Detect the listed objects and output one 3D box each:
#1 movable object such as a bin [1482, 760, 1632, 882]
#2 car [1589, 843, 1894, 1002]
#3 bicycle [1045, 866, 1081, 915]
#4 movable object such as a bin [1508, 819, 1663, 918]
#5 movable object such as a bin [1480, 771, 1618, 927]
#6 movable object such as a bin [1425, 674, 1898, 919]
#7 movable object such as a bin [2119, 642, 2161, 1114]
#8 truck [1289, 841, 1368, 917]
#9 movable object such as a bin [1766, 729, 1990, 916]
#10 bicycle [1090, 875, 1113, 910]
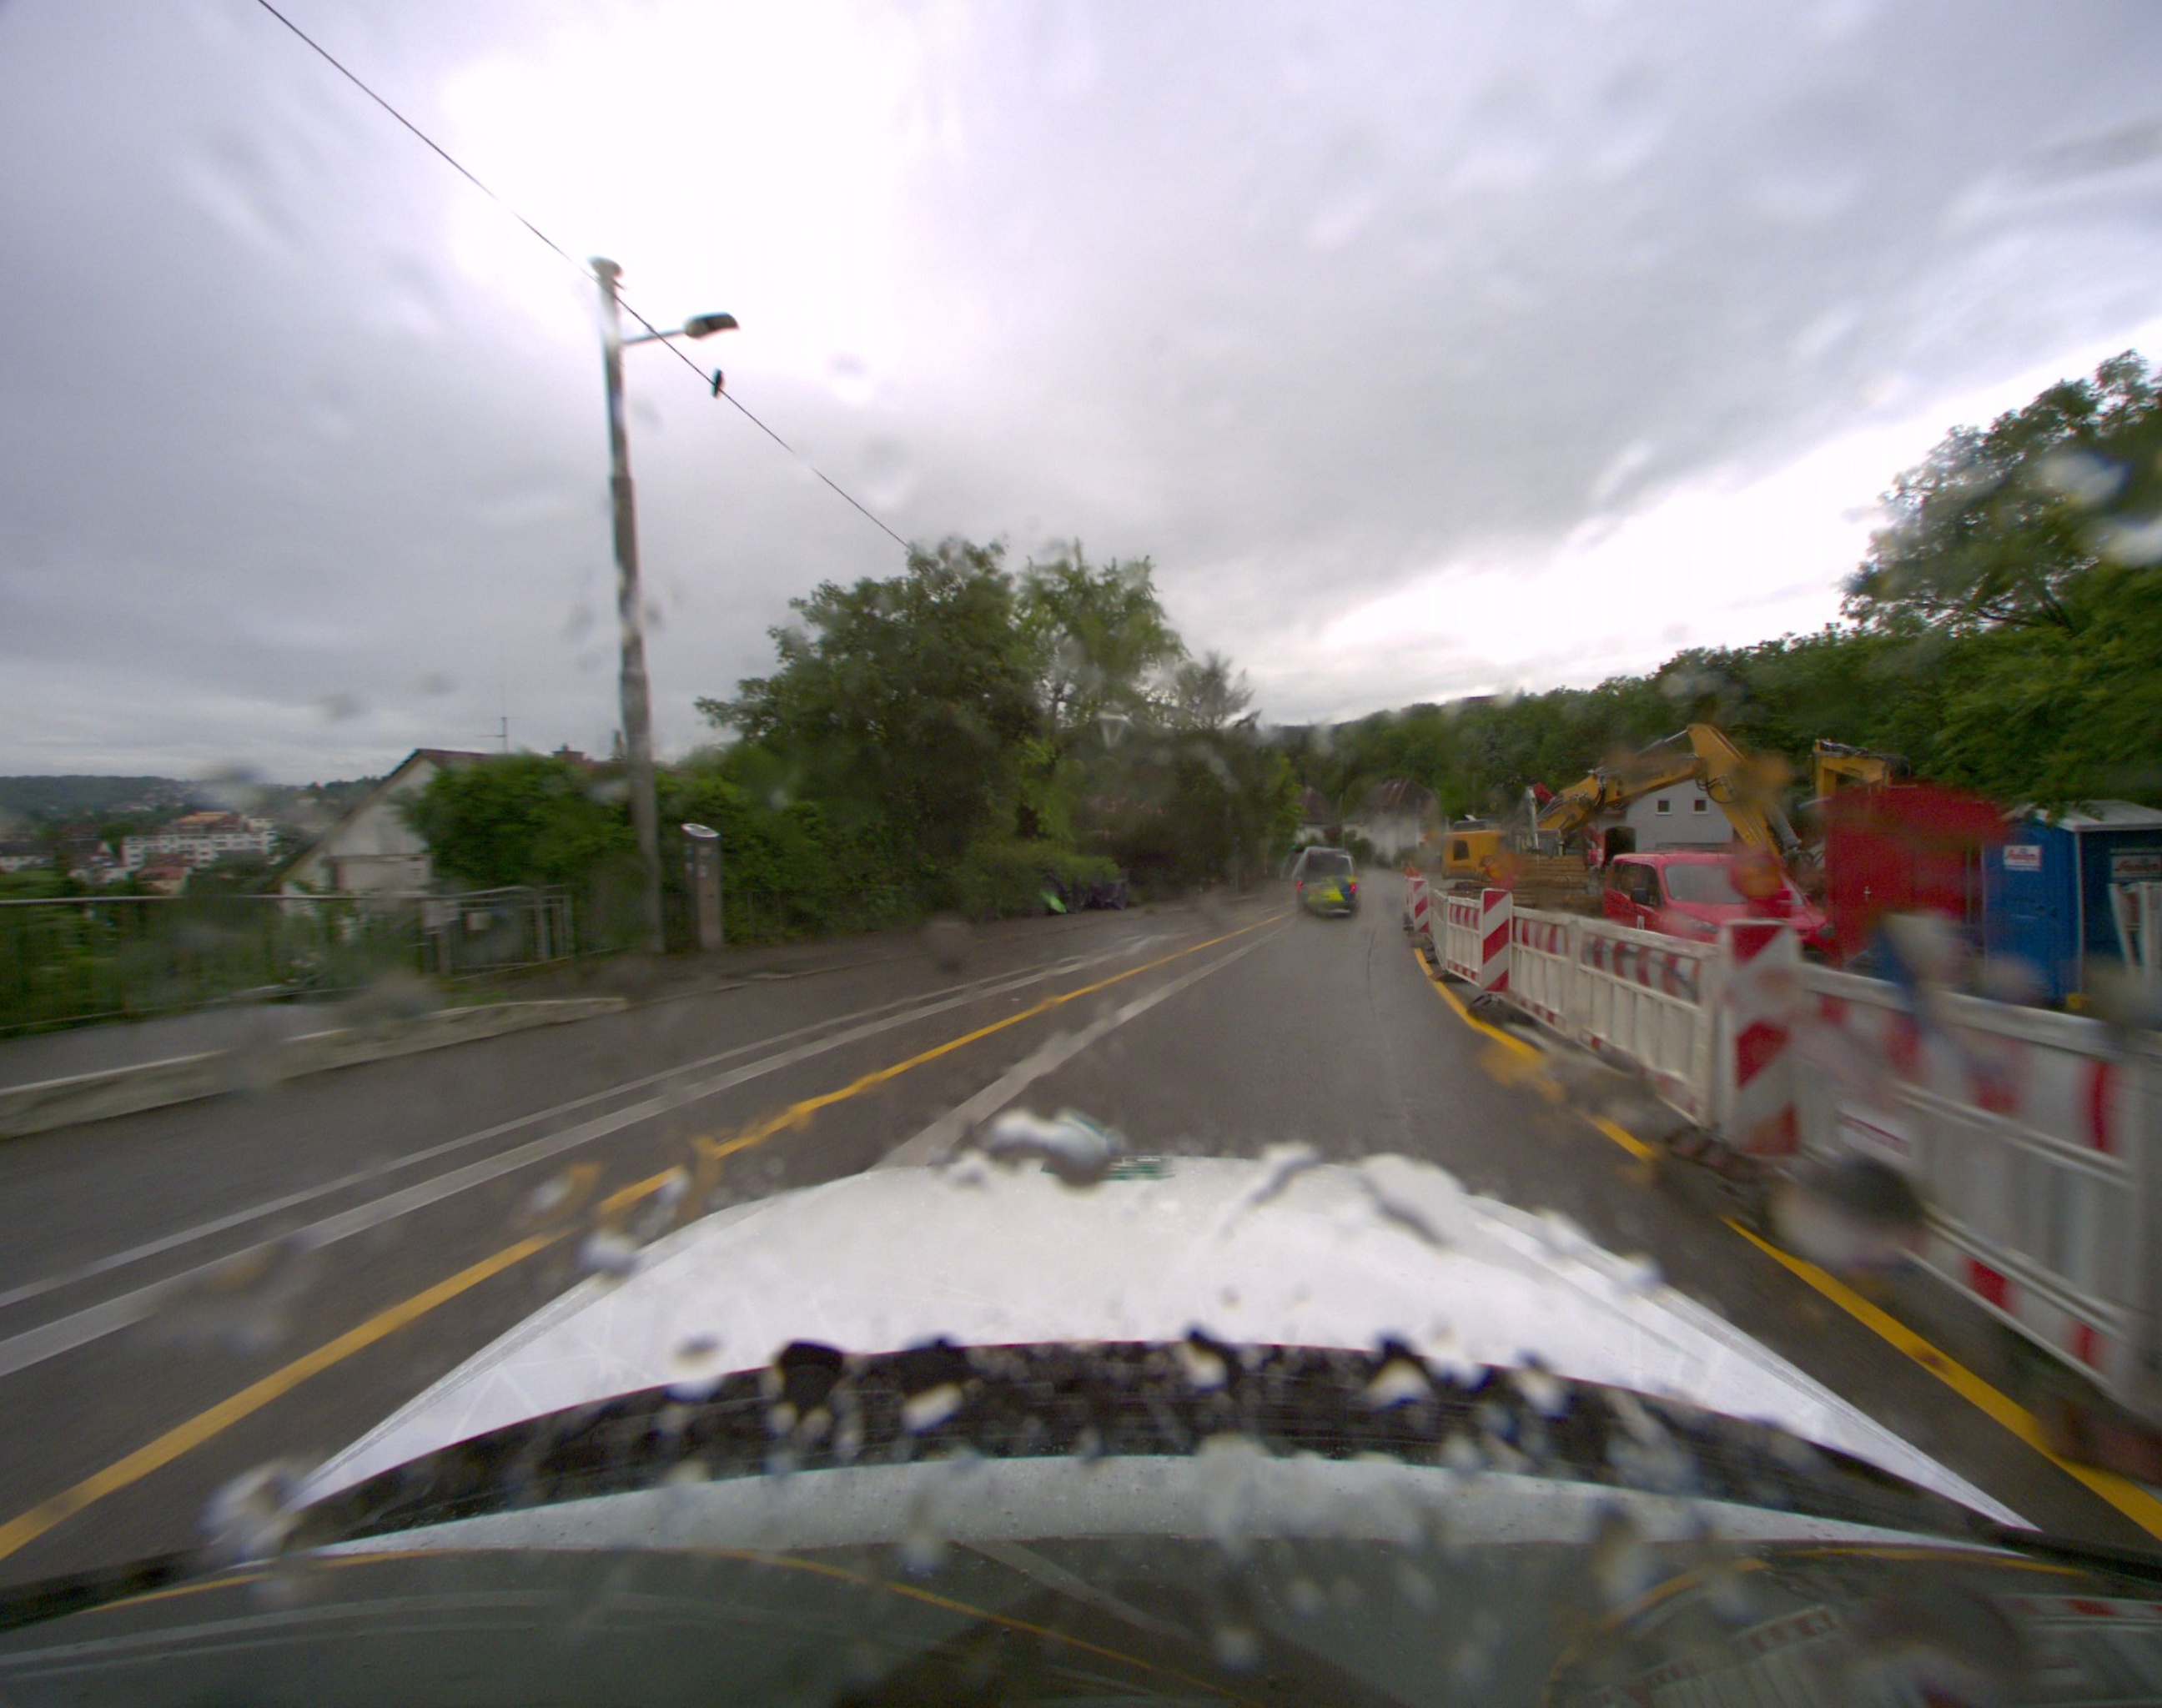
[{"bbox_3d":[27.301,-1.739,47.094,6.895,6.690,3.059,-1,-1,17],"label":"movable object such as a bin"},{"bbox_3d":[9.064,0.788,11.806,1.976,1.779,5.023,0,-1,21],"label":"car"},{"bbox_3d":[-0.504,1.038,23.529,0.417,1.349,1.751,0,-2,21],"label":"bicycle"},{"bbox_3d":[17.567,0.436,28.633,3.961,3.202,2.416,0,5,11],"label":"movable object such as a bin"},{"bbox_3d":[10.960,0.001,19.410,1.978,3.306,3.851,-1,-3,17],"label":"movable object such as a bin"},{"bbox_3d":[14.139,-0.863,21.836,3.062,4.920,10.762,1,-3,-15],"label":"movable object such as a bin"},{"bbox_3d":[6.538,0.082,1.897,2.061,3.225,5.305,0,5,13],"label":"movable object such as a bin"},{"bbox_3d":[8.268,0.745,26.928,1.976,2.013,4.762,-2,3,23],"label":"truck"},{"bbox_3d":[18.646,-0.635,19.419,1.977,3.889,4.639,0,-1,19],"label":"movable object such as a bin"},{"bbox_3d":[0.668,1.256,26.624,0.335,1.108,1.262,0,-2,21],"label":"bicycle"}]
